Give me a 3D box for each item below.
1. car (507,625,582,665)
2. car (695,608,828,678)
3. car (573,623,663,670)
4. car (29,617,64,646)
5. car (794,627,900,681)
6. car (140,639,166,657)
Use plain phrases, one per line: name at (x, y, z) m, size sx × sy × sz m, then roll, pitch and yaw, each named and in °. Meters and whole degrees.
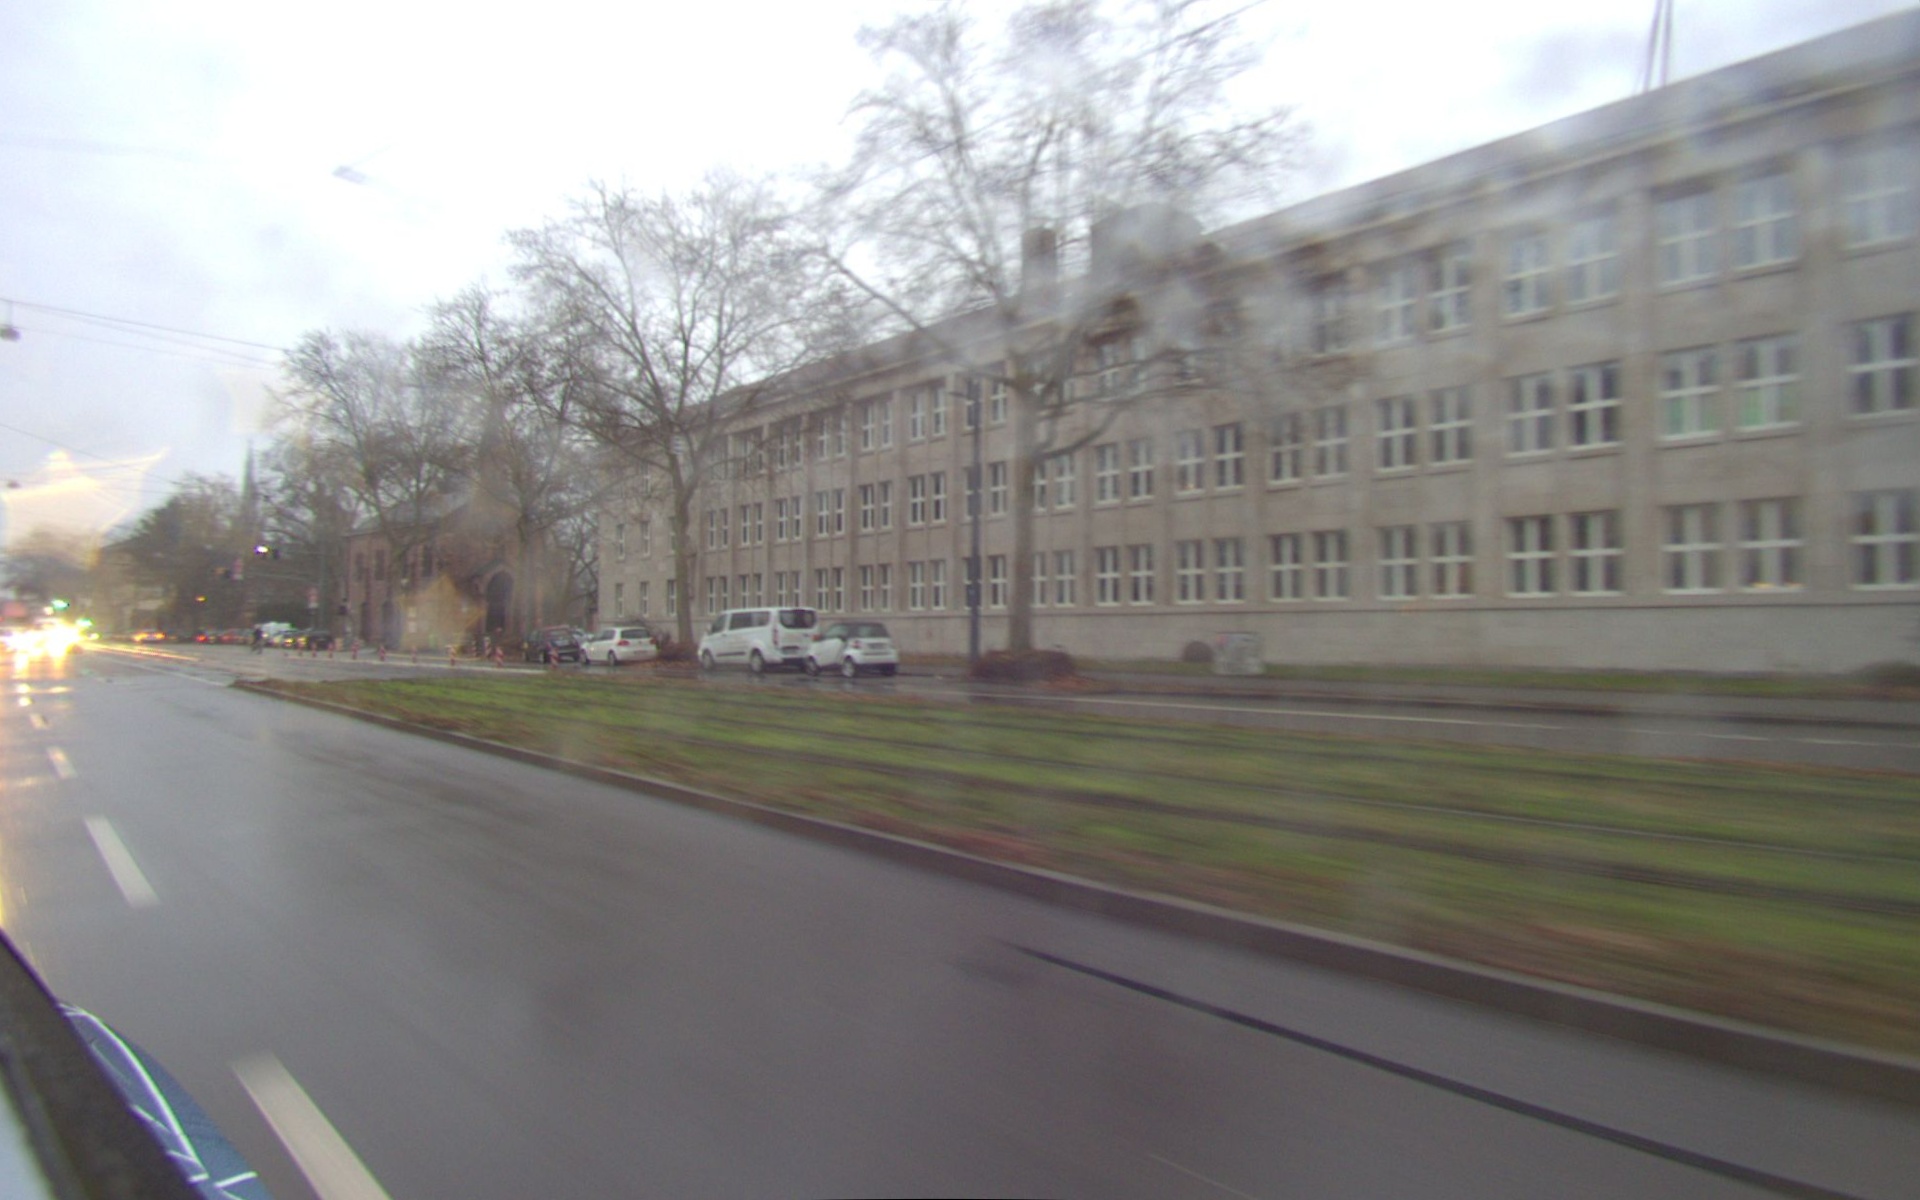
car at (-18.050, 1.948, 43.901) m, size 3.609 × 1.673 × 1.594 m, roll -2°, pitch -3°, yaw 41°
car at (-6.345, 1.289, 32.067) m, size 1.971 × 2.029 × 4.512 m, roll -1°, pitch 0°, yaw -45°
car at (-13.391, 1.771, 39.476) m, size 3.861 × 1.667 × 1.801 m, roll -1°, pitch 0°, yaw 45°
car at (-78.588, 2.676, 87.123) m, size 2.097 × 2.398 × 5.647 m, roll 0°, pitch -1°, yaw -40°
car at (-3.250, 1.497, 28.886) m, size 1.537 × 1.439 × 2.957 m, roll 2°, pitch -2°, yaw -44°
car at (-83.309, 4.920, 104.487) m, size 1.922 × 1.829 × 4.009 m, roll 2°, pitch -3°, yaw -37°
